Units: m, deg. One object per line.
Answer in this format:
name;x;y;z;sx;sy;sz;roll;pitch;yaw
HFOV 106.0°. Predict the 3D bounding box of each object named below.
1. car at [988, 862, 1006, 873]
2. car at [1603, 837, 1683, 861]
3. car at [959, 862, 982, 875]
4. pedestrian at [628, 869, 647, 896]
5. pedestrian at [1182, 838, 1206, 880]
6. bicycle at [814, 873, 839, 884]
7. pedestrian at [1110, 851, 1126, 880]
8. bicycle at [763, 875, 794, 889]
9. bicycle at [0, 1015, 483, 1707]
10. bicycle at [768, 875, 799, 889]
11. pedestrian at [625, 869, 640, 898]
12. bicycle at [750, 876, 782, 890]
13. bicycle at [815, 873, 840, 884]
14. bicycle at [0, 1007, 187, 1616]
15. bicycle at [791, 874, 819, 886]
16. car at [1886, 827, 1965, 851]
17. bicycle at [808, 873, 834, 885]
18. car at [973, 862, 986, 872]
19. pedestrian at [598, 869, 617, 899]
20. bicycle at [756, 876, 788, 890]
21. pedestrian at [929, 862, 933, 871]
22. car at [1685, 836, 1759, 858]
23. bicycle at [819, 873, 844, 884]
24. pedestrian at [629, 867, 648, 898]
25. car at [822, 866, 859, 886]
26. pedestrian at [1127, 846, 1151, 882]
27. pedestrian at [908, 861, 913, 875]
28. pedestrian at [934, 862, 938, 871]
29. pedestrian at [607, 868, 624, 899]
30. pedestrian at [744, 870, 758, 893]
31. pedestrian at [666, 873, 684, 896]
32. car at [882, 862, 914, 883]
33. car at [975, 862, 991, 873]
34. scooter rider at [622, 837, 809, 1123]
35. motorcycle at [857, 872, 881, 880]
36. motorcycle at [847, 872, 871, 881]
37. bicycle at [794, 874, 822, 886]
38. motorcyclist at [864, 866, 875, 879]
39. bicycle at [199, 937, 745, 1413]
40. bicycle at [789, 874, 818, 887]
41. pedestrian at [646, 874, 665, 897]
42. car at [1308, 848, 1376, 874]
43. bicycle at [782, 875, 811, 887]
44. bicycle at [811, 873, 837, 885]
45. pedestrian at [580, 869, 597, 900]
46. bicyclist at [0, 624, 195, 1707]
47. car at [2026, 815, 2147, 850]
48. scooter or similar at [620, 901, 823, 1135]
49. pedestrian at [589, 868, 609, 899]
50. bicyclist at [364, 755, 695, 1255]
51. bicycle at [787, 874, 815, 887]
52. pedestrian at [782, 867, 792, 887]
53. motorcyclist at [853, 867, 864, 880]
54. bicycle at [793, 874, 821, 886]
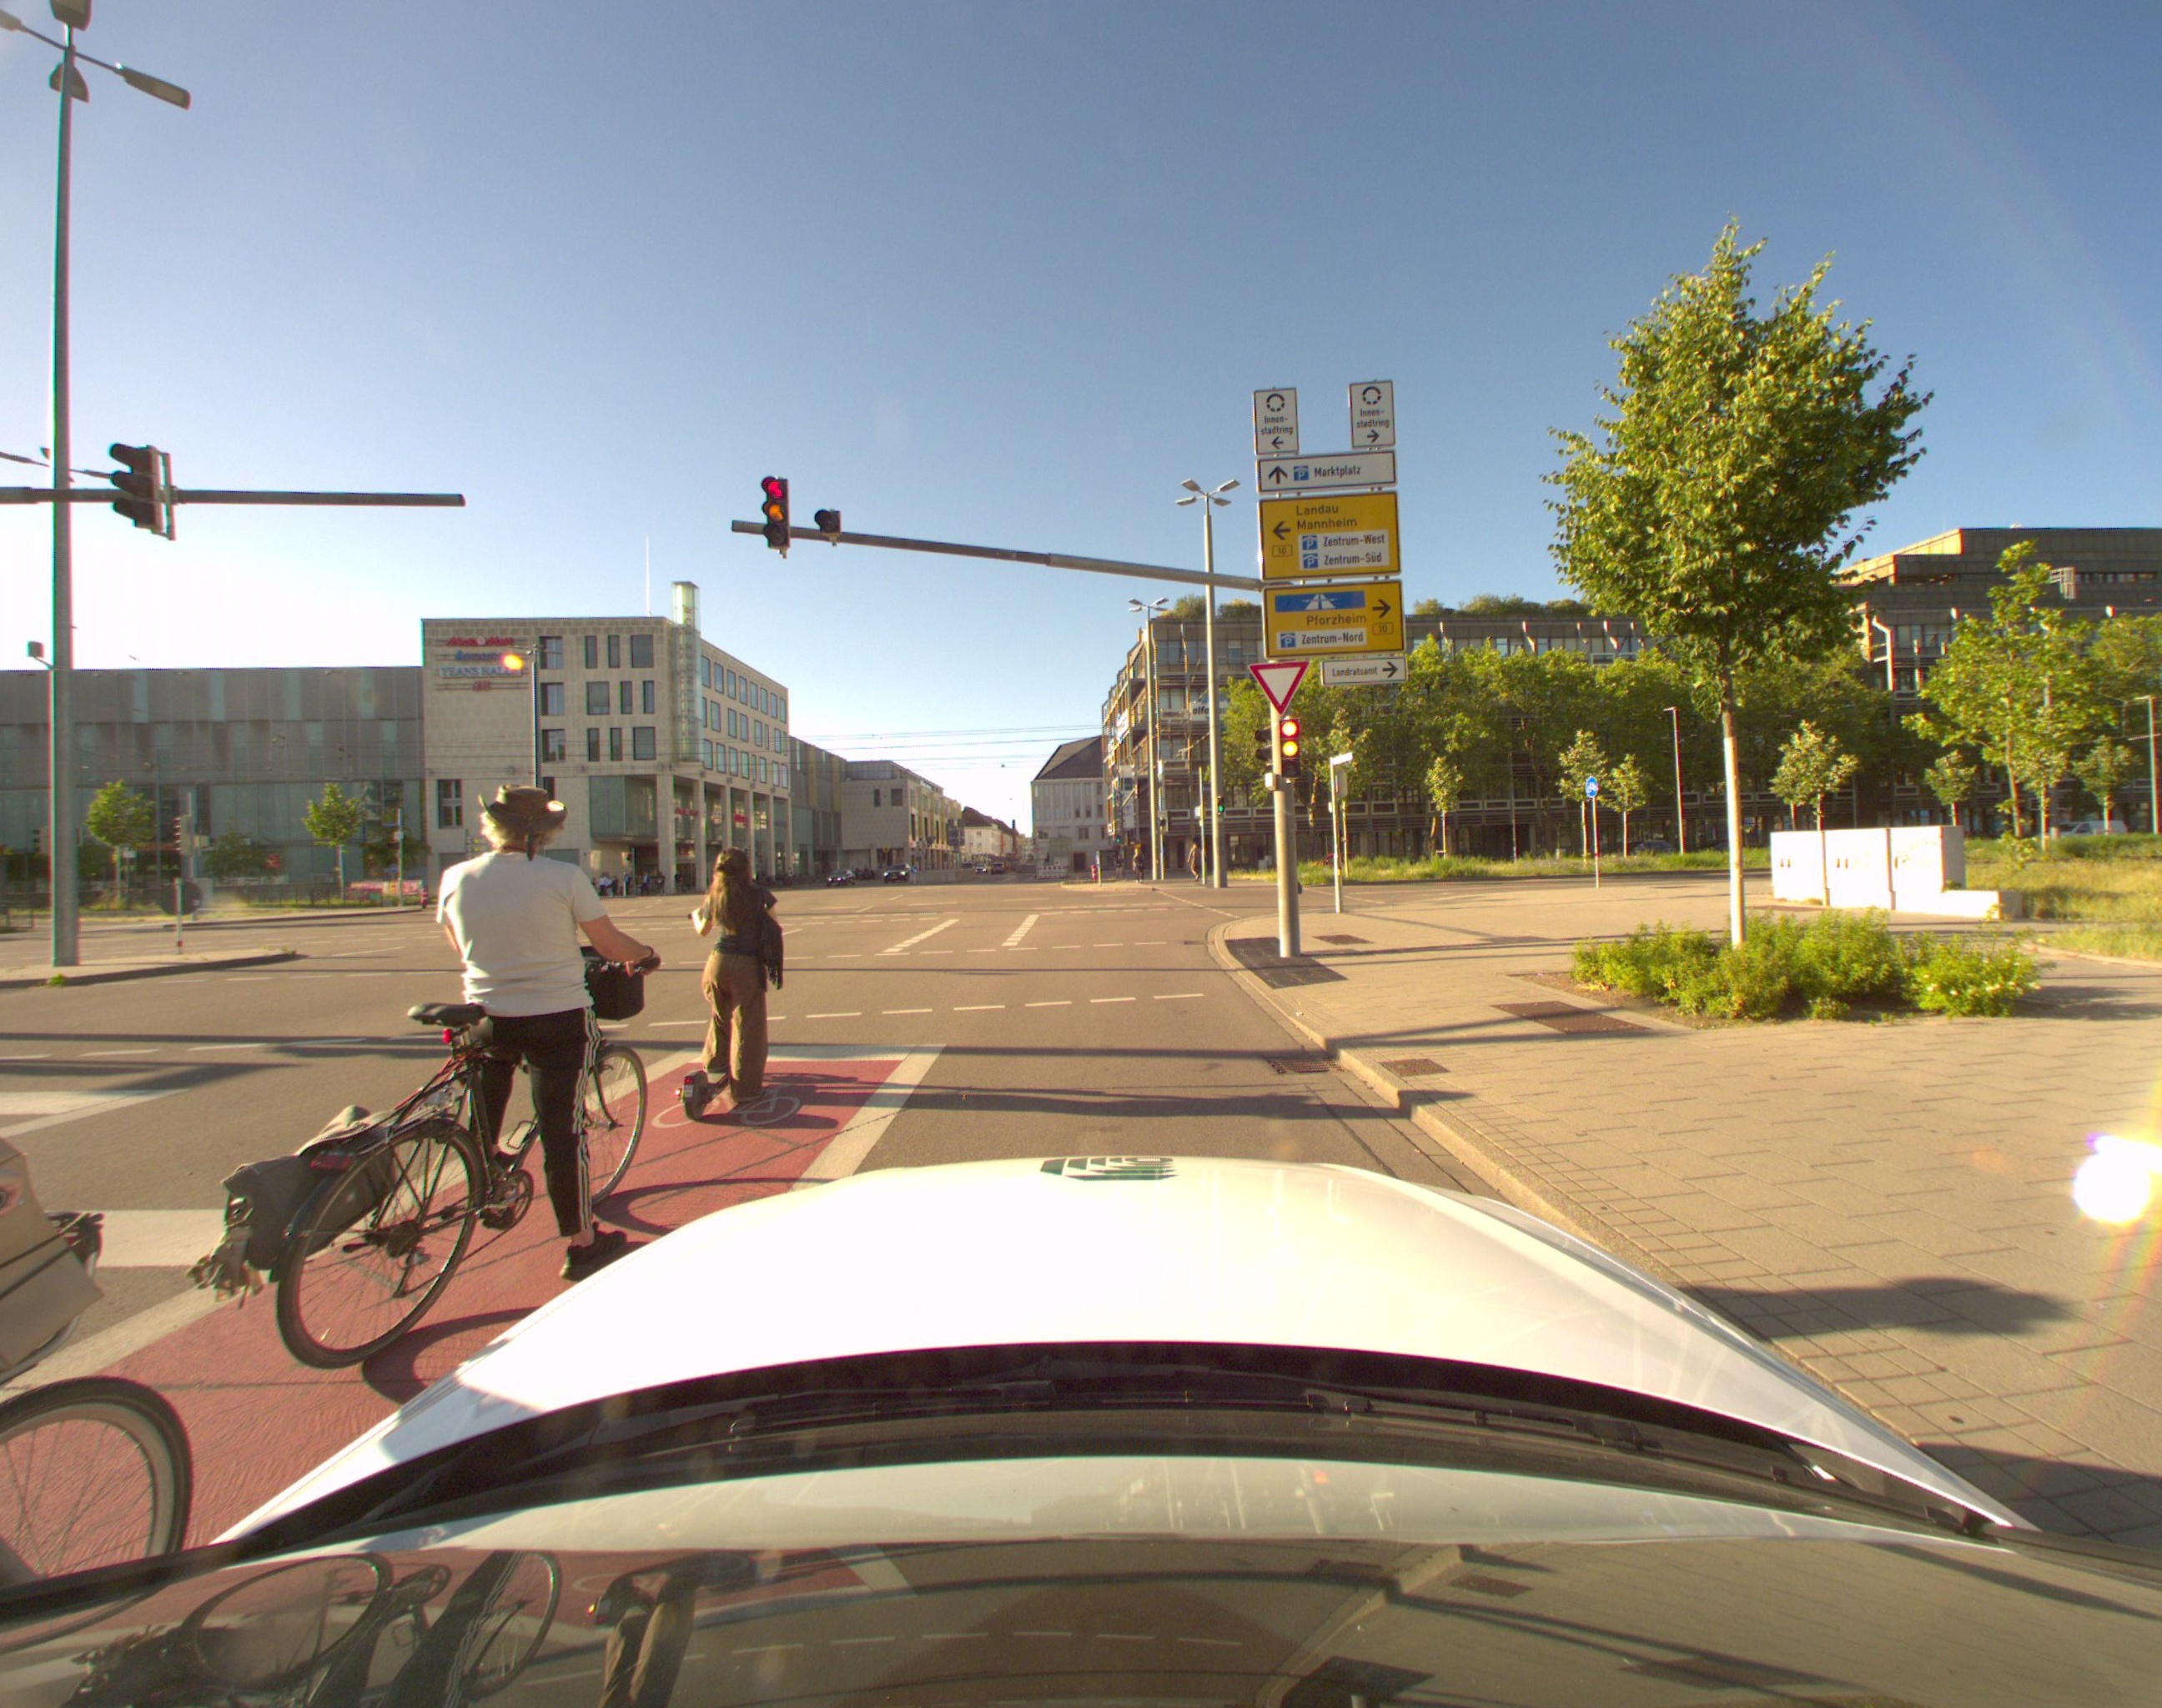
car;-11.192;1.773;108.758;1.931;1.450;4.259;-2;-1;-2
car;41.770;-0.386;60.600;4.848;1.680;1.995;0;1;-7
car;-15.358;1.990;113.465;2.166;1.692;5.488;-2;-1;1
pedestrian;-33.731;2.167;61.934;0.914;2.014;1.020;-2;-1;-10
pedestrian;4.902;0.214;35.333;0.854;1.744;0.737;-2;0;-7
bicycle;-26.929;2.609;86.128;2.458;1.111;0.661;-2;0;2
pedestrian;2.546;0.788;55.814;1.007;1.911;1.052;-2;0;3
bicycle;-26.738;2.495;72.068;2.457;1.111;0.685;-2;0;4
bicycle;-1.692;0.918;0.924;0.648;1.094;1.800;-2;0;1
bicycle;-26.618;2.488;72.874;2.458;1.111;0.684;-2;0;2
pedestrian;-32.576;2.120;59.171;0.919;2.014;1.014;-1;-1;-28
bicycle;-26.841;2.485;69.357;2.394;1.113;0.658;-2;0;1
bicycle;-27.016;2.625;86.798;2.458;1.111;0.631;-2;0;2
bicycle;-2.431;0.927;0.997;0.621;1.116;1.816;-2;0;1
bicycle;-27.146;2.560;80.021;2.458;1.111;0.684;-2;0;2
car;64.804;-1.145;62.518;4.255;1.596;1.864;-2;-1;-4
bicycle;-27.003;2.601;84.618;2.458;1.111;0.835;-2;0;2
car;-21.604;2.756;173.663;2.168;1.873;5.610;-2;-1;-2
pedestrian;-34.116;2.163;58.633;0.896;2.124;0.942;-2;-1;-13
bicycle;-26.823;2.498;70.704;2.458;1.111;0.684;-2;0;2
pedestrian;-23.960;2.027;129.876;0.487;1.356;0.563;0;-1;-4
car;47.917;-0.512;60.946;3.976;1.521;1.999;-2;0;-2
bicycle;-26.963;2.622;88.081;2.458;1.111;0.661;-2;0;2
pedestrian;-31.491;2.032;57.949;1.067;2.129;1.086;-1;-1;-34
car;-20.829;1.889;70.687;1.931;1.581;4.293;-2;0;0
pedestrian;2.530;0.424;35.802;0.894;1.549;0.922;-2;1;-5
pedestrian;-24.558;2.011;117.360;0.616;2.014;0.476;0;-1;-13
pedestrian;-22.676;1.995;127.123;0.487;1.356;0.563;0;-1;-4
pedestrian;-32.558;2.036;56.930;0.902;2.124;0.936;-1;-1;-36
pedestrian;-25.447;2.130;62.732;0.748;1.740;0.756;-2;-1;-1
pedestrian;-29.206;2.174;58.608;0.950;1.571;0.832;-1;-1;-38
car;-15.709;1.559;70.053;1.933;1.677;4.290;-2;-1;-3
car;-16.370;2.276;136.118;2.169;1.692;5.610;-2;-1;-2
scooter rider;-2.175;0.684;4.989;0.640;1.544;1.116;-1;0;-1
motorcycle;-25.631;2.686;98.585;2.664;0.996;0.914;0;-1;-6
motorcycle;-25.924;2.659;95.141;2.664;0.996;0.914;0;-1;-6
bicycle;-27.202;2.571;81.274;2.458;1.111;0.835;-2;0;2
motorcyclist;-25.610;2.259;98.605;1.135;1.575;0.914;0;-1;-5
bicycle;-2.040;0.967;3.129;0.704;1.094;1.800;-2;0;0
bicycle;-26.664;2.536;78.230;2.458;1.111;0.684;-2;0;2
pedestrian;-31.111;2.272;59.542;1.013;1.651;0.937;-1;-1;-42
car;17.339;0.463;54.168;3.863;1.486;1.841;-2;-3;-7
bicycle;-26.653;2.526;76.227;2.458;1.111;0.594;-2;0;2
bicycle;-26.980;2.597;85.425;2.458;1.111;0.661;-2;0;2
pedestrian;-35.228;2.168;58.218;0.900;2.124;0.939;-1;-1;-25
bicyclist;-1.703;0.483;0.818;0.648;1.543;0.847;-2;0;1
car;67.582;-1.429;54.779;5.680;2.014;2.262;-2;-2;-5
scooter or similar;-2.188;0.934;5.170;0.640;1.175;1.483;-1;0;-1
pedestrian;-33.950;2.098;57.402;0.896;2.124;0.943;-2;-1;-12
bicyclist;-2.060;0.510;3.159;0.697;1.669;0.786;-2;0;0
bicycle;-26.624;2.537;77.453;2.458;1.111;0.684;-2;0;2
pedestrian;-30.288;2.340;83.880;0.949;1.982;1.000;-1;-1;-23
motorcyclist;-26.008;2.262;95.126;1.035;1.471;0.914;0;-1;-5
bicycle;-26.594;2.540;79.035;2.458;1.111;0.835;-2;0;2
